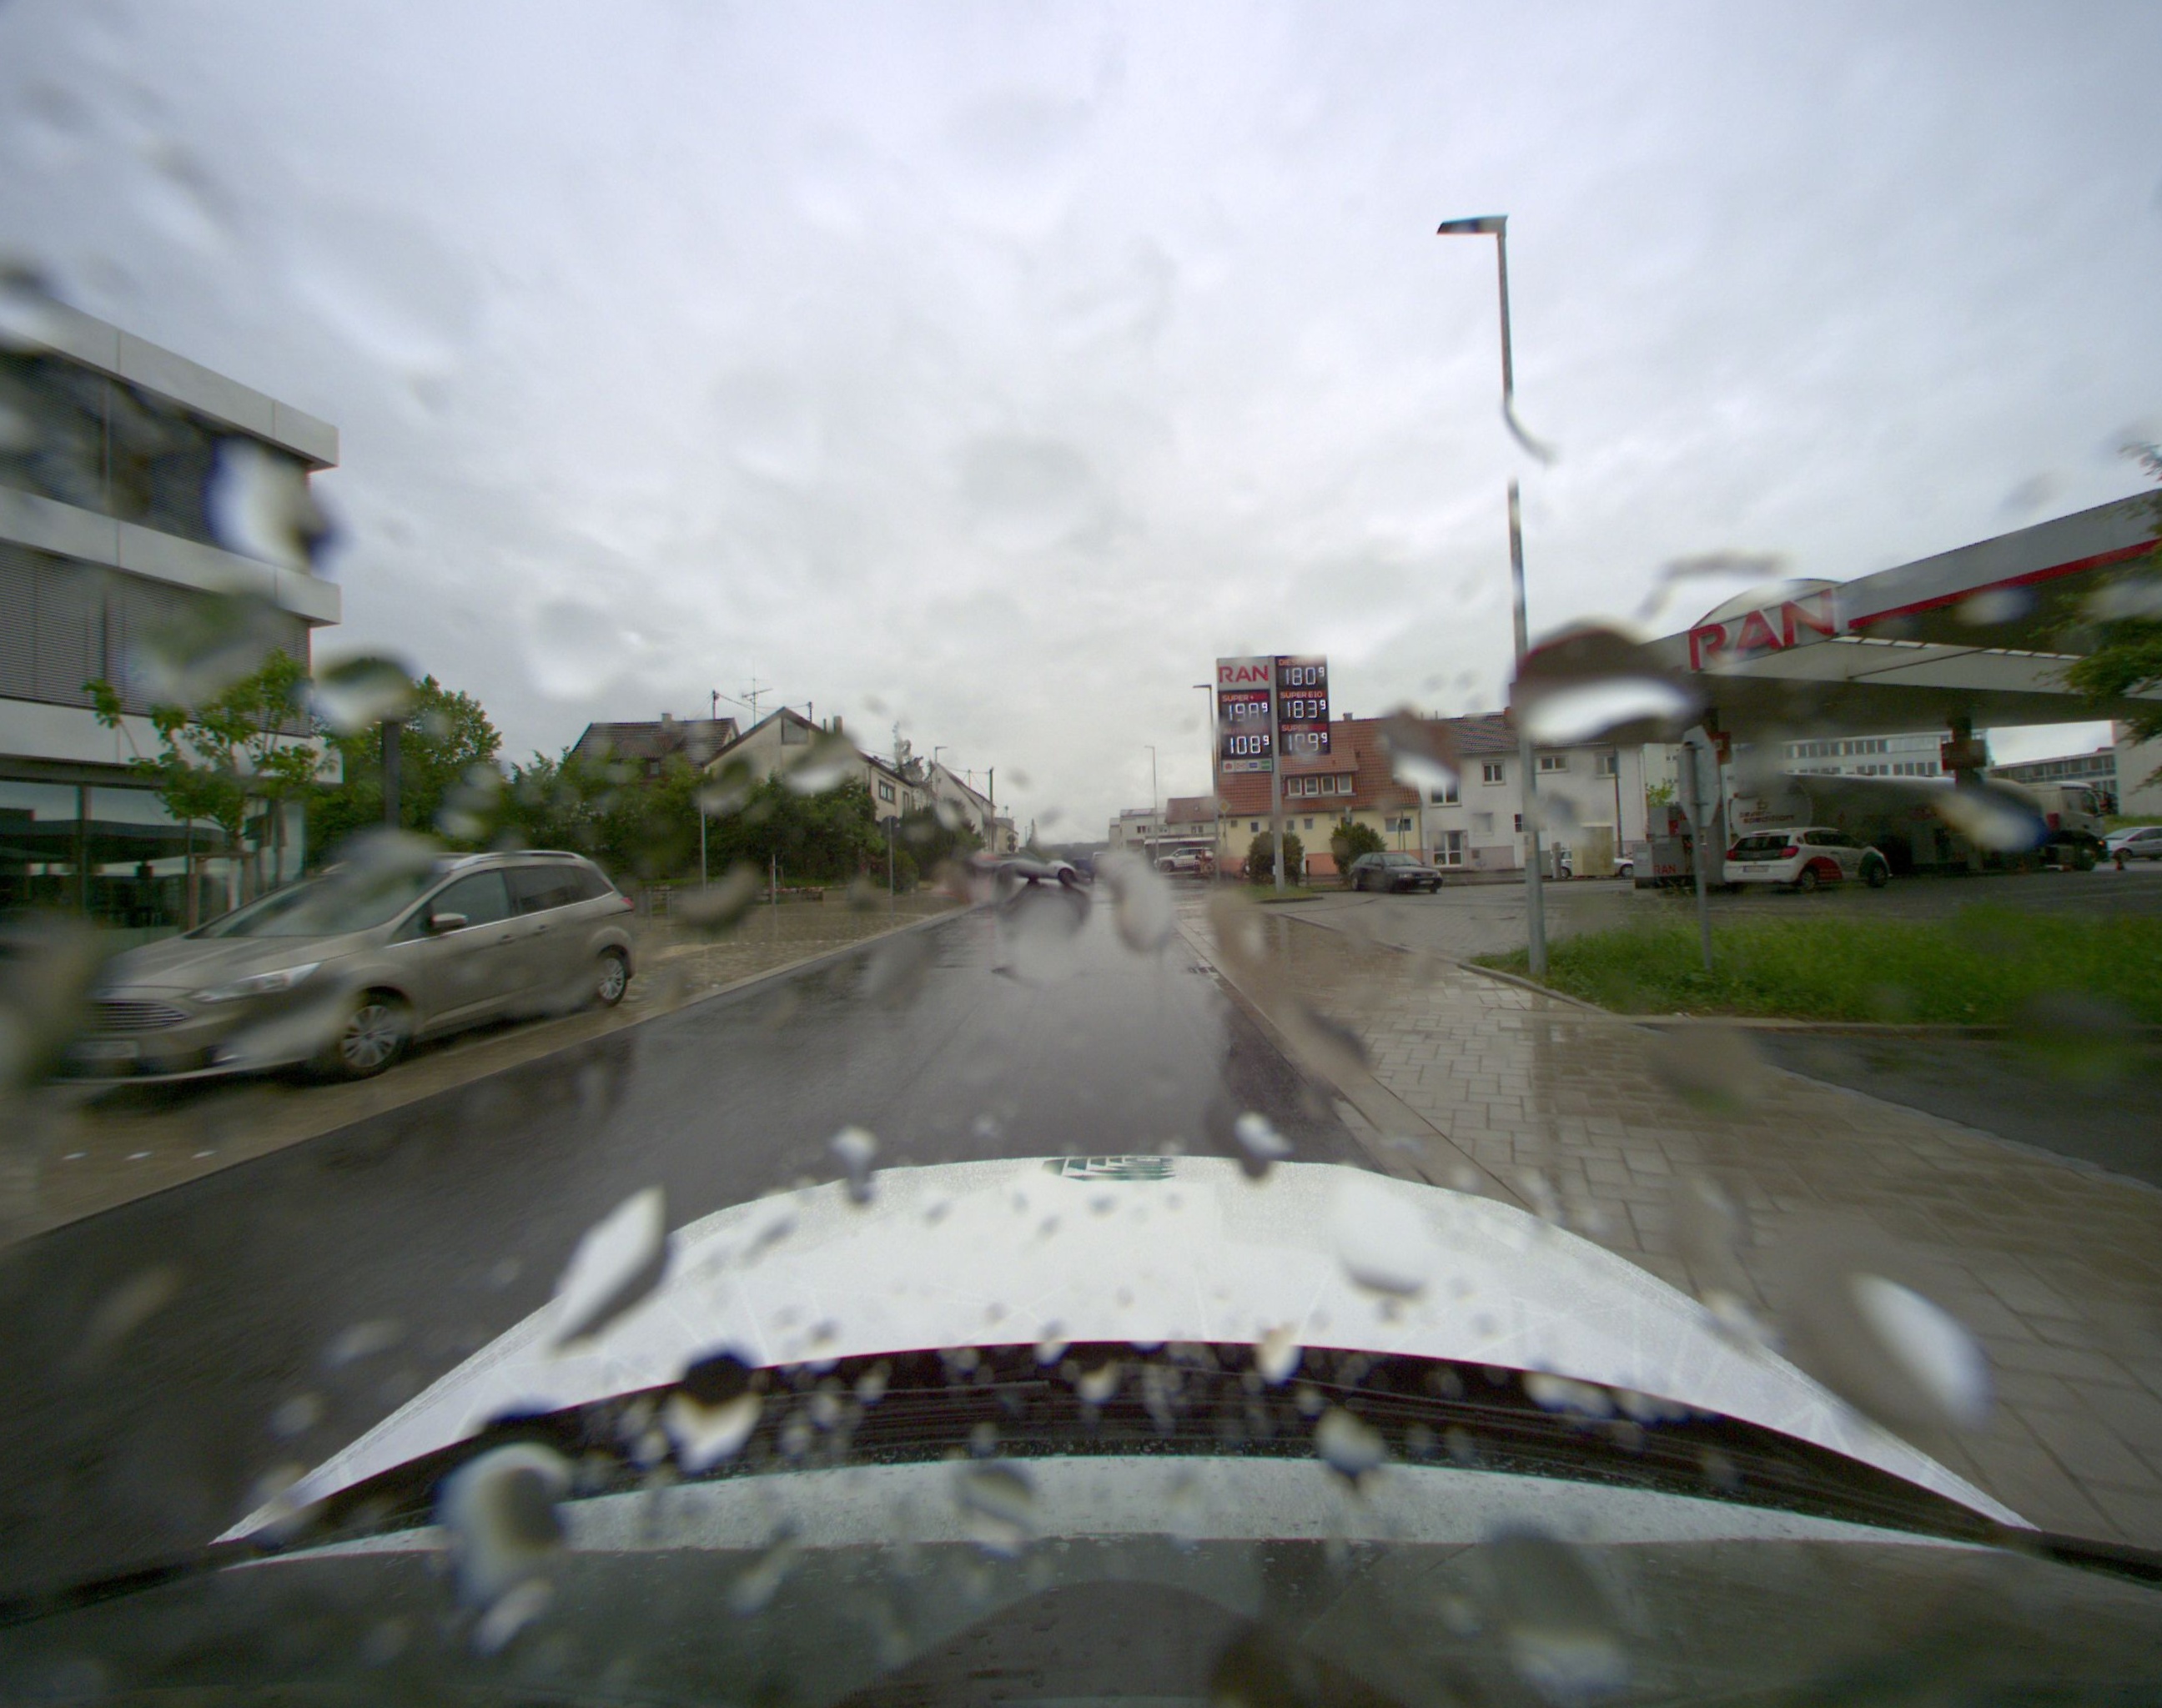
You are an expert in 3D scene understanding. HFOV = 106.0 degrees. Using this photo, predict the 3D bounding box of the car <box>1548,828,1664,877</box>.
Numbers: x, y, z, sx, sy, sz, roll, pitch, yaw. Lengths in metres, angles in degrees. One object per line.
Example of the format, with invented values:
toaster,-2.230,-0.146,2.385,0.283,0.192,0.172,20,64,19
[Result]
car,24.037,-0.052,37.401,3.968,2.014,2.003,-2,-1,5

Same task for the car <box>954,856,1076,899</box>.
car,-2.578,0.911,32.604,1.975,1.502,4.697,-3,-1,45

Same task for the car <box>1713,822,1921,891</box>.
car,17.145,0.047,19.006,3.996,1.427,1.766,-2,-1,-17

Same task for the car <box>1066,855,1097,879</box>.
car,0.038,0.862,54.526,1.922,1.539,4.320,-1,-1,0

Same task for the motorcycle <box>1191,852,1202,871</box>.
motorcycle,7.134,0.463,50.395,0.485,1.096,2.003,-2,1,5

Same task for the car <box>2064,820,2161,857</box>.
car,50.565,-0.767,38.953,4.152,1.589,2.008,-3,1,15

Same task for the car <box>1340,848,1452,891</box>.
car,10.925,0.543,28.600,1.688,1.339,4.326,-2,-1,-9

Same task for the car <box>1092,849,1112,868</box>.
car,2.008,0.436,79.381,1.763,1.825,4.574,-1,-1,0

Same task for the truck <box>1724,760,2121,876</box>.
truck,27.907,-1.235,26.858,14.394,3.359,2.634,-1,1,-16

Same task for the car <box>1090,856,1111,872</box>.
car,1.705,0.892,72.562,1.763,1.336,4.320,-1,-1,0

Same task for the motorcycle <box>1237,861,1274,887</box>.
motorcycle,10.084,1.159,47.110,2.019,1.456,0.491,-2,-1,13

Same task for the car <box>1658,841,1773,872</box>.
car,32.850,0.108,42.295,4.219,1.376,2.006,-3,0,10

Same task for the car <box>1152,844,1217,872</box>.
car,7.144,0.292,56.495,4.205,1.610,1.860,-4,-1,-2

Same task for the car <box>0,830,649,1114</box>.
car,-5.984,0.752,7.199,1.830,1.706,4.326,-2,-1,2
